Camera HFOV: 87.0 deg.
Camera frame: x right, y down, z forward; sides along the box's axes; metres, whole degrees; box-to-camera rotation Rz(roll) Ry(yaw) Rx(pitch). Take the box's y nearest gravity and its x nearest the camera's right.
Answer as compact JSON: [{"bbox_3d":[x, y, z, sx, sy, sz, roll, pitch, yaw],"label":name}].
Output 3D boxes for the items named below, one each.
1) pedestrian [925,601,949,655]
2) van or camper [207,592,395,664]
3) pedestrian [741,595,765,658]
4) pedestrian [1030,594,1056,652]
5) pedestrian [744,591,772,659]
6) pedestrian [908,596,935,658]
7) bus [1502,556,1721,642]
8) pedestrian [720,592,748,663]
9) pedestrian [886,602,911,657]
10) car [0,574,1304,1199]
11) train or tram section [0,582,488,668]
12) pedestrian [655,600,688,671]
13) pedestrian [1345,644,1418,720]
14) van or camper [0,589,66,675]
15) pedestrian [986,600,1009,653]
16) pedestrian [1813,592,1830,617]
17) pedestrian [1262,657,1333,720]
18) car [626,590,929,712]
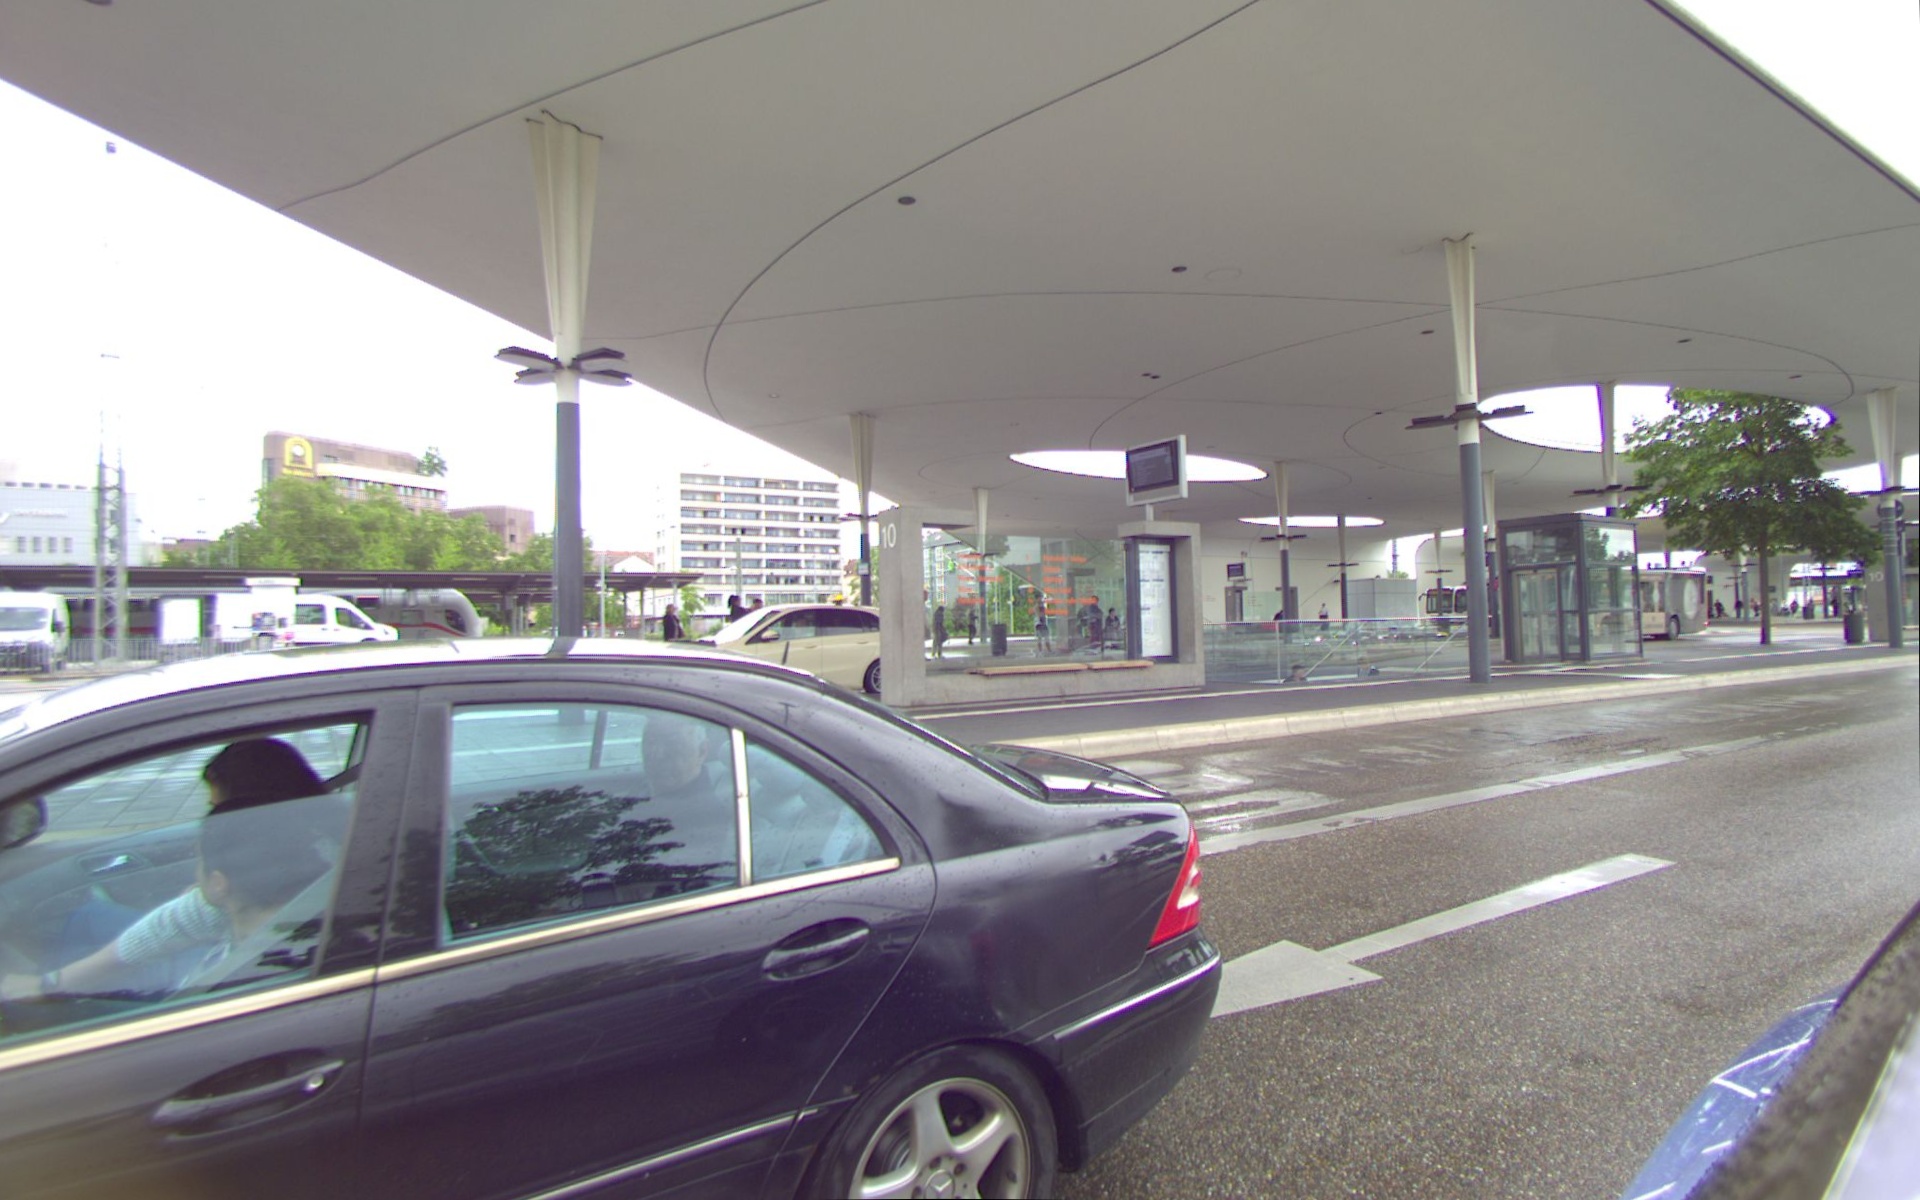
[{"bbox_3d":[-0.659,0.799,29.366,0.515,1.533,0.479,0,-1,-29],"label":"pedestrian"},{"bbox_3d":[-24.415,0.972,37.748,5.750,2.464,2.001,-1,1,-33],"label":"van or camper"},{"bbox_3d":[-5.139,0.649,25.127,0.470,1.533,0.535,-1,-1,2],"label":"pedestrian"},{"bbox_3d":[2.252,0.619,27.561,0.524,1.533,0.479,0,-1,-29],"label":"pedestrian"},{"bbox_3d":[-4.631,0.574,23.200,0.469,1.533,0.536,0,-1,-28],"label":"pedestrian"},{"bbox_3d":[-0.972,0.672,25.423,0.524,1.533,0.479,0,-1,-29],"label":"pedestrian"},{"bbox_3d":[26.626,-0.128,41.013,11.690,3.121,2.880,-1,1,-33],"label":"bus"},{"bbox_3d":[-4.967,0.602,22.280,0.469,1.533,0.536,0,-1,-28],"label":"pedestrian"},{"bbox_3d":[-1.720,0.816,28.350,0.555,1.533,0.479,0,-1,-29],"label":"pedestrian"},{"bbox_3d":[-1.432,0.702,2.075,4.365,1.484,1.701,-1,1,-33],"label":"car"},{"bbox_3d":[-42.958,1.192,57.682,28.739,4.234,4.608,-1,1,-33],"label":"train or tram section"},{"bbox_3d":[-6.765,0.809,23.717,0.725,1.615,0.643,0,0,-18],"label":"pedestrian"},{"bbox_3d":[7.882,1.509,18.937,0.939,1.291,0.884,-1,0,-29],"label":"pedestrian"},{"bbox_3d":[-29.409,0.907,31.427,2.126,2.464,5.858,-1,1,-39],"label":"van or camper"},{"bbox_3d":[1.103,0.767,29.786,0.515,1.533,0.479,0,-1,-29],"label":"pedestrian"},{"bbox_3d":[71.026,0.344,83.458,1.020,2.039,0.868,0,0,38],"label":"pedestrian"},{"bbox_3d":[6.418,1.664,19.258,0.939,1.068,0.884,-1,0,-29],"label":"pedestrian"},{"bbox_3d":[-2.930,0.709,16.517,4.453,1.702,2.001,-1,1,-33],"label":"car"}]
